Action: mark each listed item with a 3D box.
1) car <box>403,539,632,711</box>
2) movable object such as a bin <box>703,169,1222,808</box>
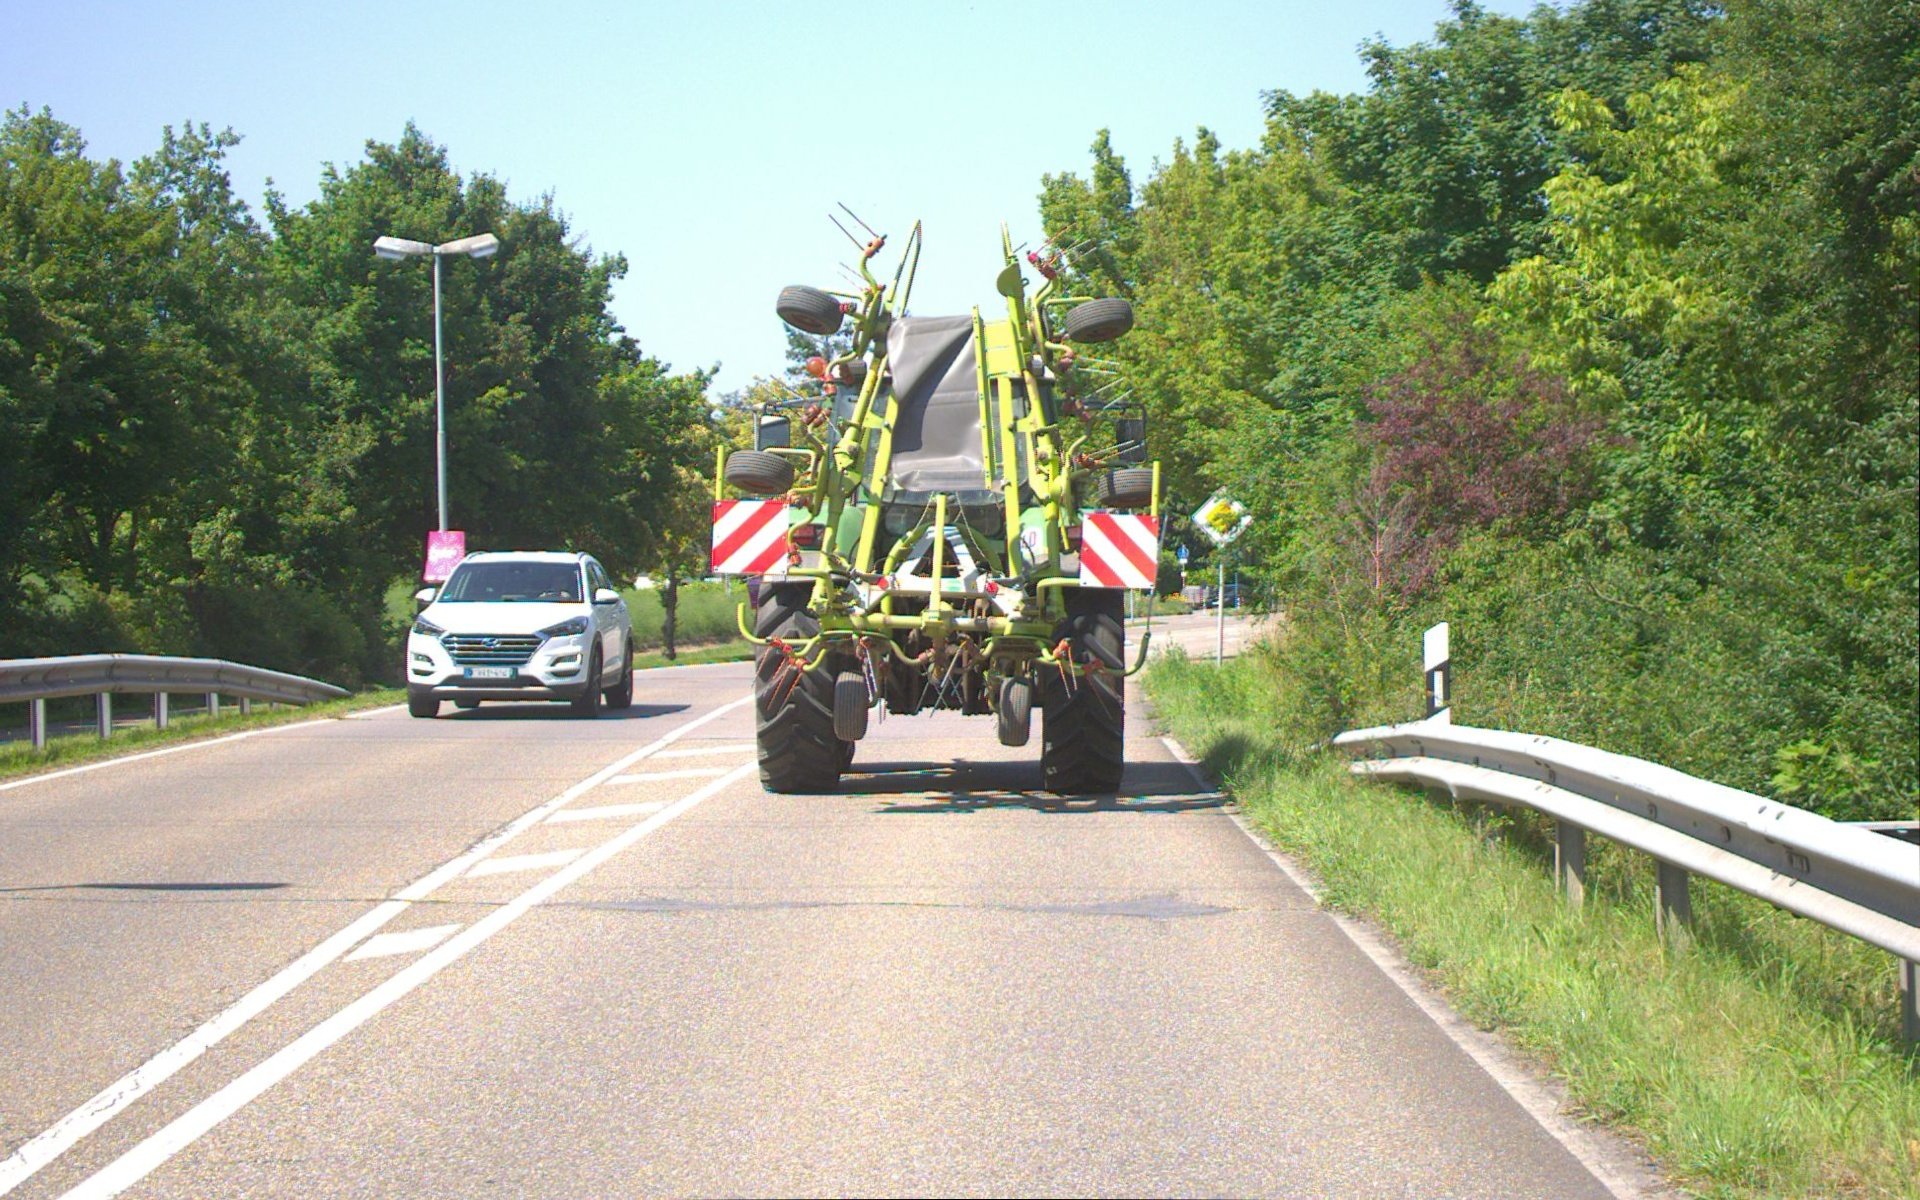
[{"bbox_3d":[-4.462,0.217,35.207,1.824,1.634,4.141,1,1,-1],"label":"car"},{"bbox_3d":[-0.072,-0.682,24.014,2.853,3.529,9.701,1,1,-1],"label":"movable object such as a bin"}]
